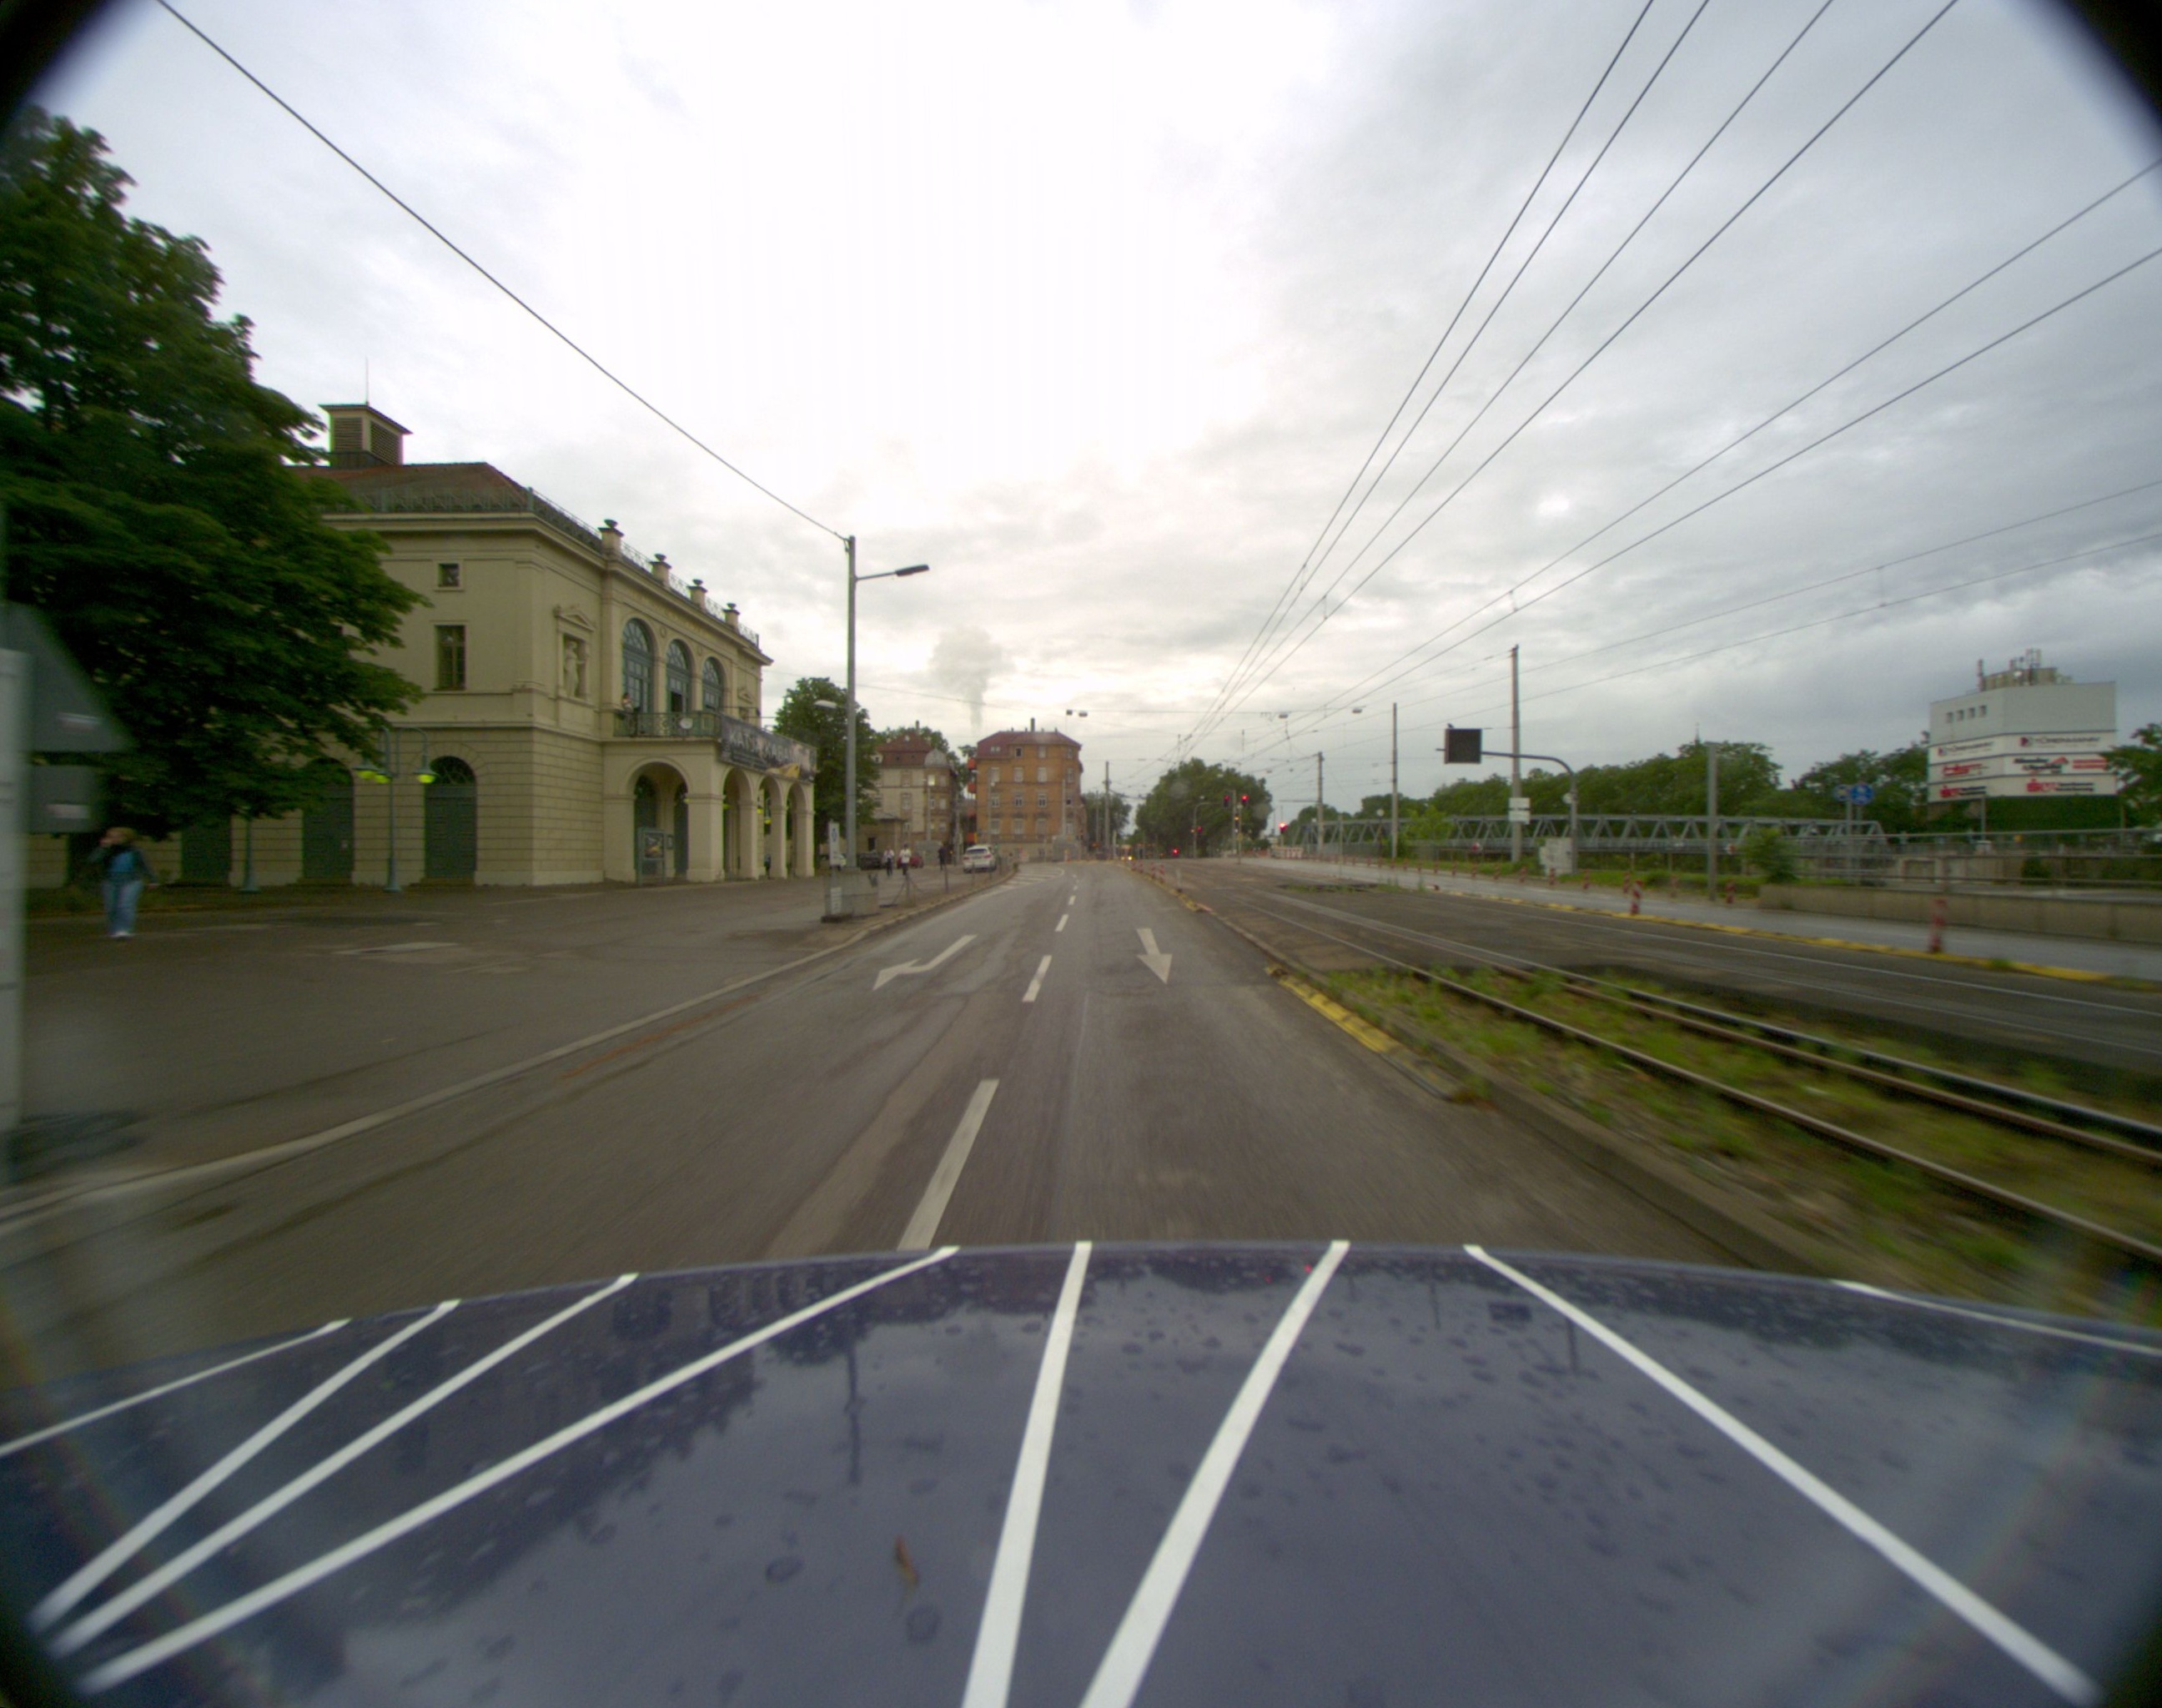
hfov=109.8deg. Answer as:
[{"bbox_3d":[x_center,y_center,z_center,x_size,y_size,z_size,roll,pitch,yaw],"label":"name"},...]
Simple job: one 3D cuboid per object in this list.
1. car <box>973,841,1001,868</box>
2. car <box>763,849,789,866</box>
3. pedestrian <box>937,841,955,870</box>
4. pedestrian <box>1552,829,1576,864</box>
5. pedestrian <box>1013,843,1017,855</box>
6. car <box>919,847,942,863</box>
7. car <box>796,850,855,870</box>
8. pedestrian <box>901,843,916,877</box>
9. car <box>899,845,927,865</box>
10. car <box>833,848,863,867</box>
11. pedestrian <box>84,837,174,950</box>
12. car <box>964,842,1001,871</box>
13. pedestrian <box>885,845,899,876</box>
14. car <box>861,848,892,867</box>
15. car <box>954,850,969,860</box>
[{"bbox_3d":[-6.542,-0.010,52.922,1.721,1.630,4.139,-4,2,-7],"label":"car"},{"bbox_3d":[-26.594,0.270,66.322,1.724,1.434,3.993,-1,1,-17],"label":"car"},{"bbox_3d":[-8.802,0.093,49.553,0.696,1.797,0.783,0,2,40],"label":"pedestrian"},{"bbox_3d":[23.730,-0.361,37.332,0.766,1.678,0.619,0,1,0],"label":"pedestrian"},{"bbox_3d":[-9.260,-0.657,106.234,0.512,1.645,0.534,-1,2,-1],"label":"pedestrian"},{"bbox_3d":[-15.140,0.086,76.471,1.831,1.573,3.997,0,1,-4],"label":"car"},{"bbox_3d":[-18.928,0.440,56.421,3.742,1.461,1.729,0,1,4],"label":"car"},{"bbox_3d":[-8.978,0.291,39.615,0.595,1.726,0.839,0,2,-1],"label":"pedestrian"},{"bbox_3d":[-14.493,0.061,65.692,1.831,1.573,3.997,0,1,-4],"label":"car"},{"bbox_3d":[-20.392,0.286,66.674,1.682,1.489,3.997,0,1,-5],"label":"car"},{"bbox_3d":[-14.006,0.550,11.187,0.863,1.581,0.669,2,1,28],"label":"pedestrian"},{"bbox_3d":[-6.066,0.118,47.154,1.844,1.630,4.141,-4,1,-3],"label":"car"},{"bbox_3d":[-10.015,0.327,40.250,0.629,1.635,0.780,0,2,-5],"label":"pedestrian"},{"bbox_3d":[-17.713,0.291,65.985,1.864,1.539,4.063,-2,1,-5],"label":"car"},{"bbox_3d":[-18.453,0.128,117.390,1.831,1.573,3.997,0,1,-4],"label":"car"}]
